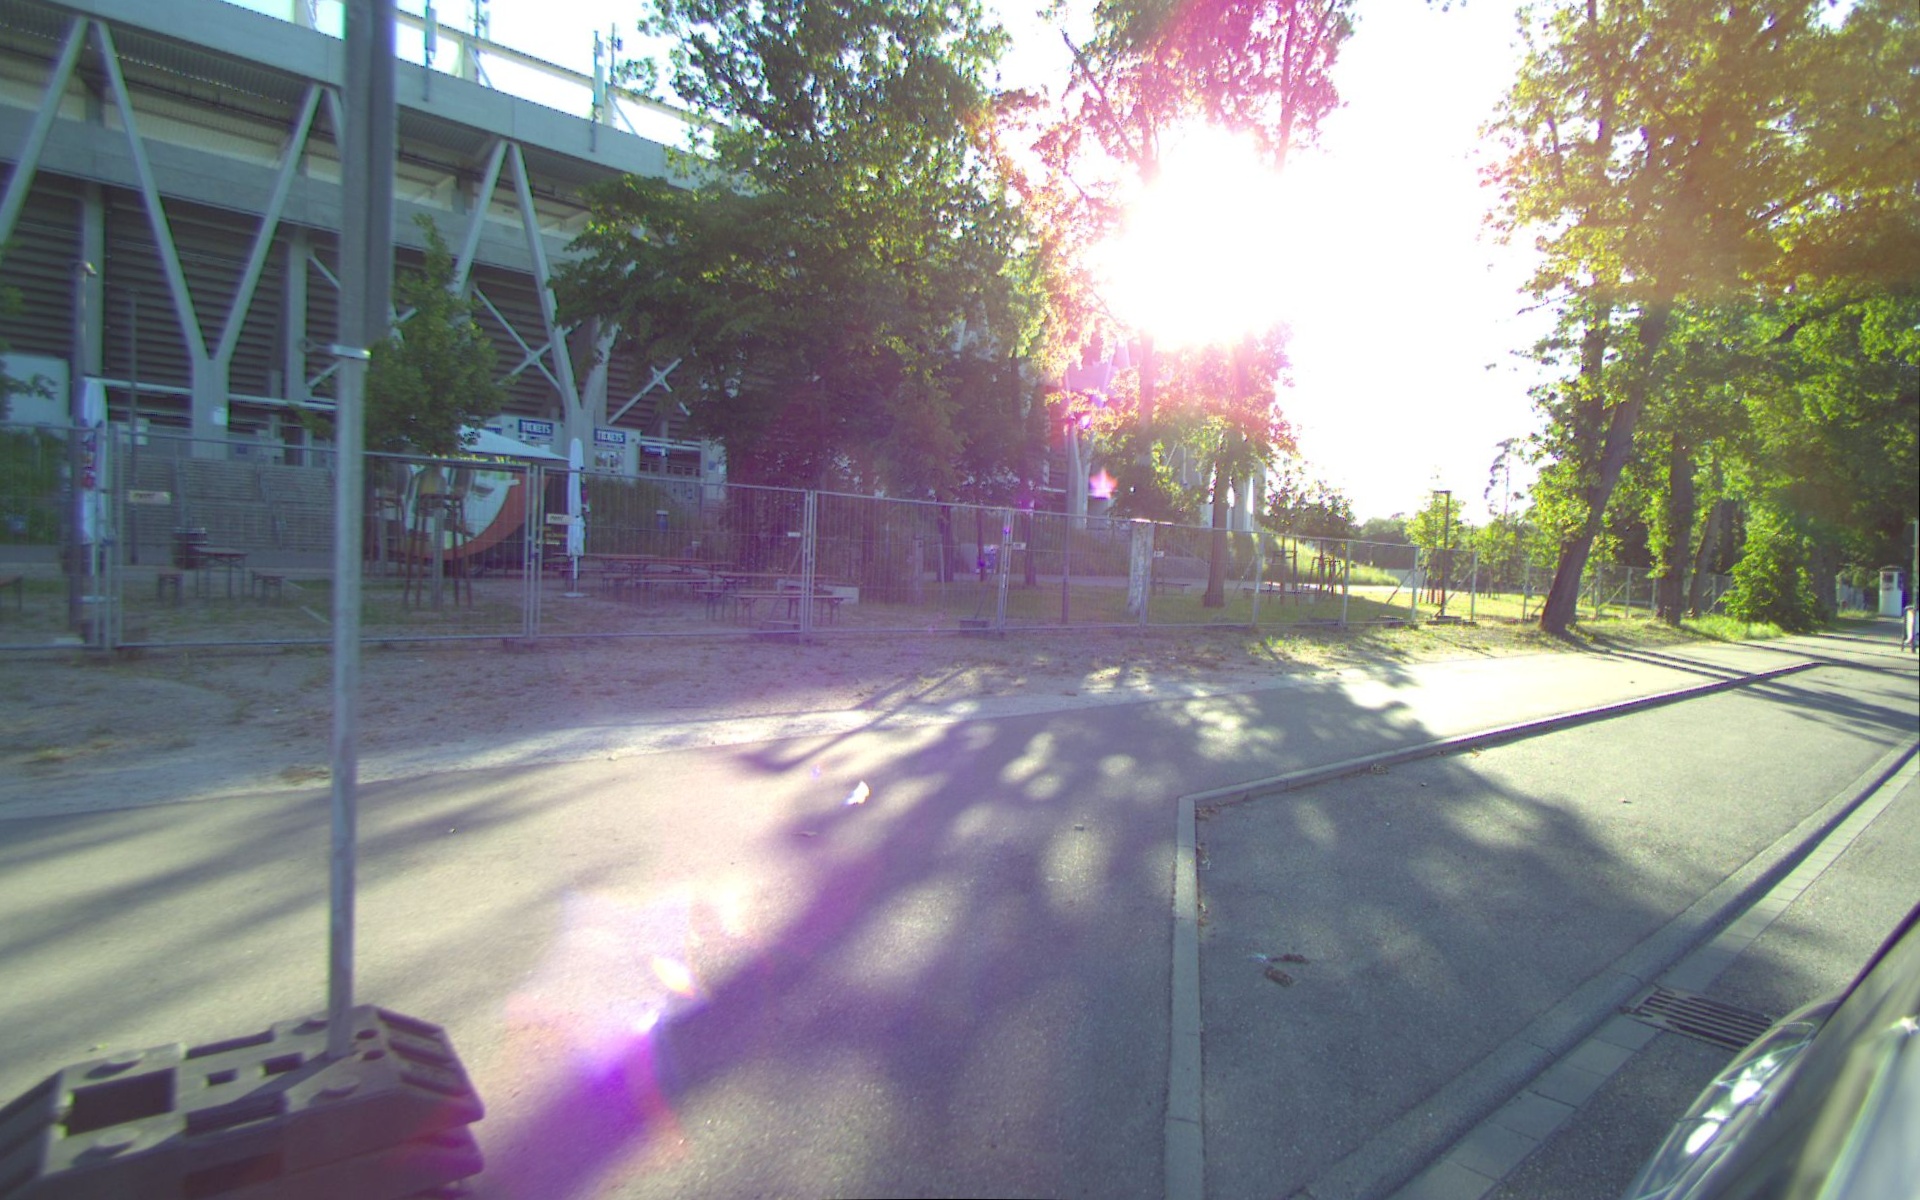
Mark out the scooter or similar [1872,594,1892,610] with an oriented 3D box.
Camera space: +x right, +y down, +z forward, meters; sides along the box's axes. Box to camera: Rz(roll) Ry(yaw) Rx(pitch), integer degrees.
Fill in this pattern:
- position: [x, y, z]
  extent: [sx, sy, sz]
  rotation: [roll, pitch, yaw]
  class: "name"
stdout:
- position: [79.560, 0.182, 87.327]
  extent: [1.281, 1.252, 0.334]
  rotation: [3, 1, 12]
  class: "scooter or similar"
